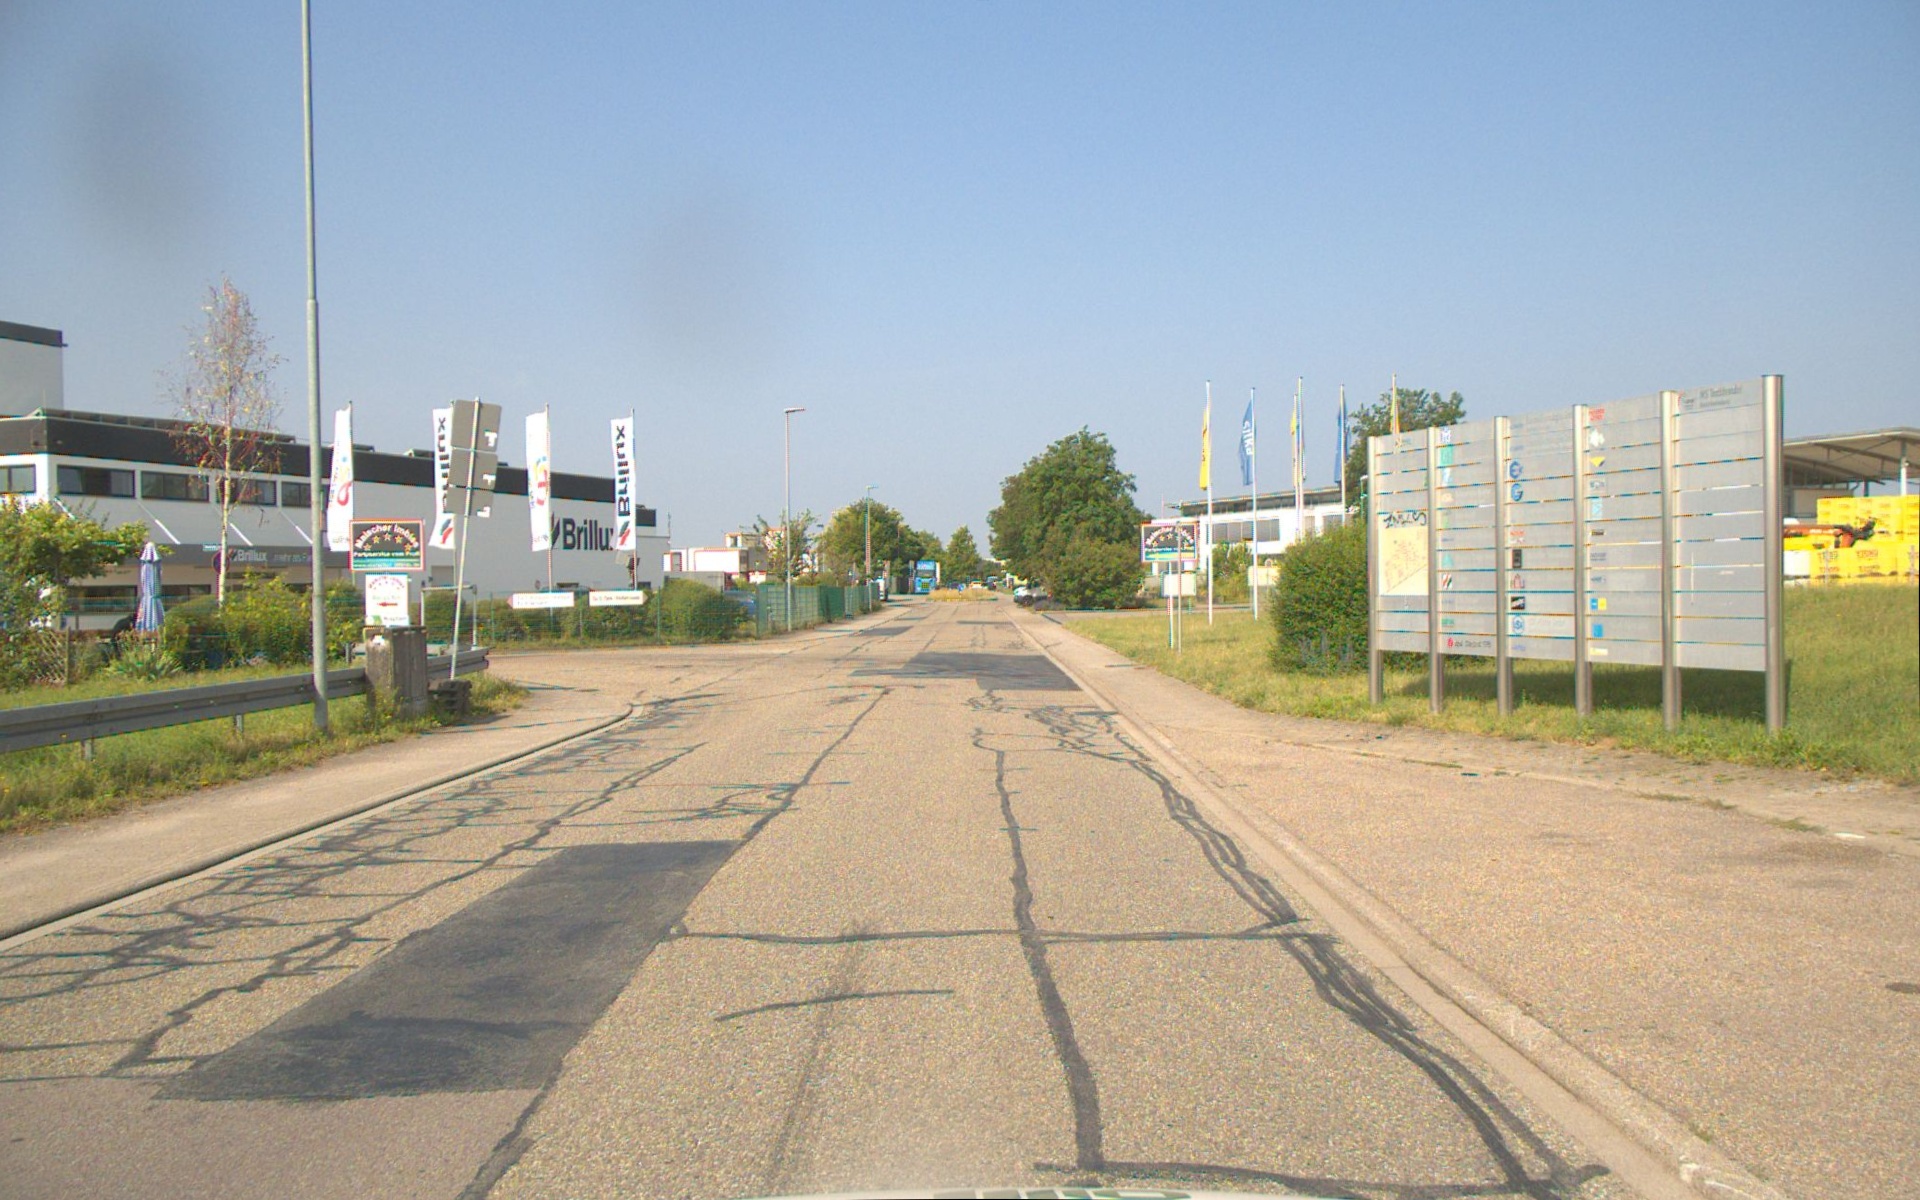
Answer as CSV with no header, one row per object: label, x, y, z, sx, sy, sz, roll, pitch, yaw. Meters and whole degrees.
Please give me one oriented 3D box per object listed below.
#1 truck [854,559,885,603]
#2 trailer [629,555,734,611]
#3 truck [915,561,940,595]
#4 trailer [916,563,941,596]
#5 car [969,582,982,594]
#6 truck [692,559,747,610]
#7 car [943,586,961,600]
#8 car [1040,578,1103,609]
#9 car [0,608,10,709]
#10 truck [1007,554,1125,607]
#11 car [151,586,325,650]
truck,-8.510,-1.762,156.247,2.653,3.990,4.296,1,-1,0
trailer,-21.972,-1.238,131.678,2.429,4.112,13.897,1,0,16
truck,-3.935,-2.625,200.483,2.767,3.892,9.672,1,0,0
trailer,-3.963,-2.553,210.579,2.773,3.910,12.035,1,0,0
car,2.198,-1.686,235.709,1.683,1.690,3.822,1,0,-1
truck,-20.077,-1.292,138.509,2.459,4.142,5.547,1,-1,15
car,-0.972,-0.823,197.840,1.953,1.474,4.419,-3,0,-1
car,7.110,-0.420,105.653,3.904,1.870,2.000,-1,0,1
car,-16.837,0.968,24.119,4.735,1.536,1.958,-2,0,-10
truck,7.379,-1.354,116.292,8.041,3.429,2.741,-2,-1,-1
car,-21.479,0.521,49.204,4.554,1.782,2.152,-1,0,22
